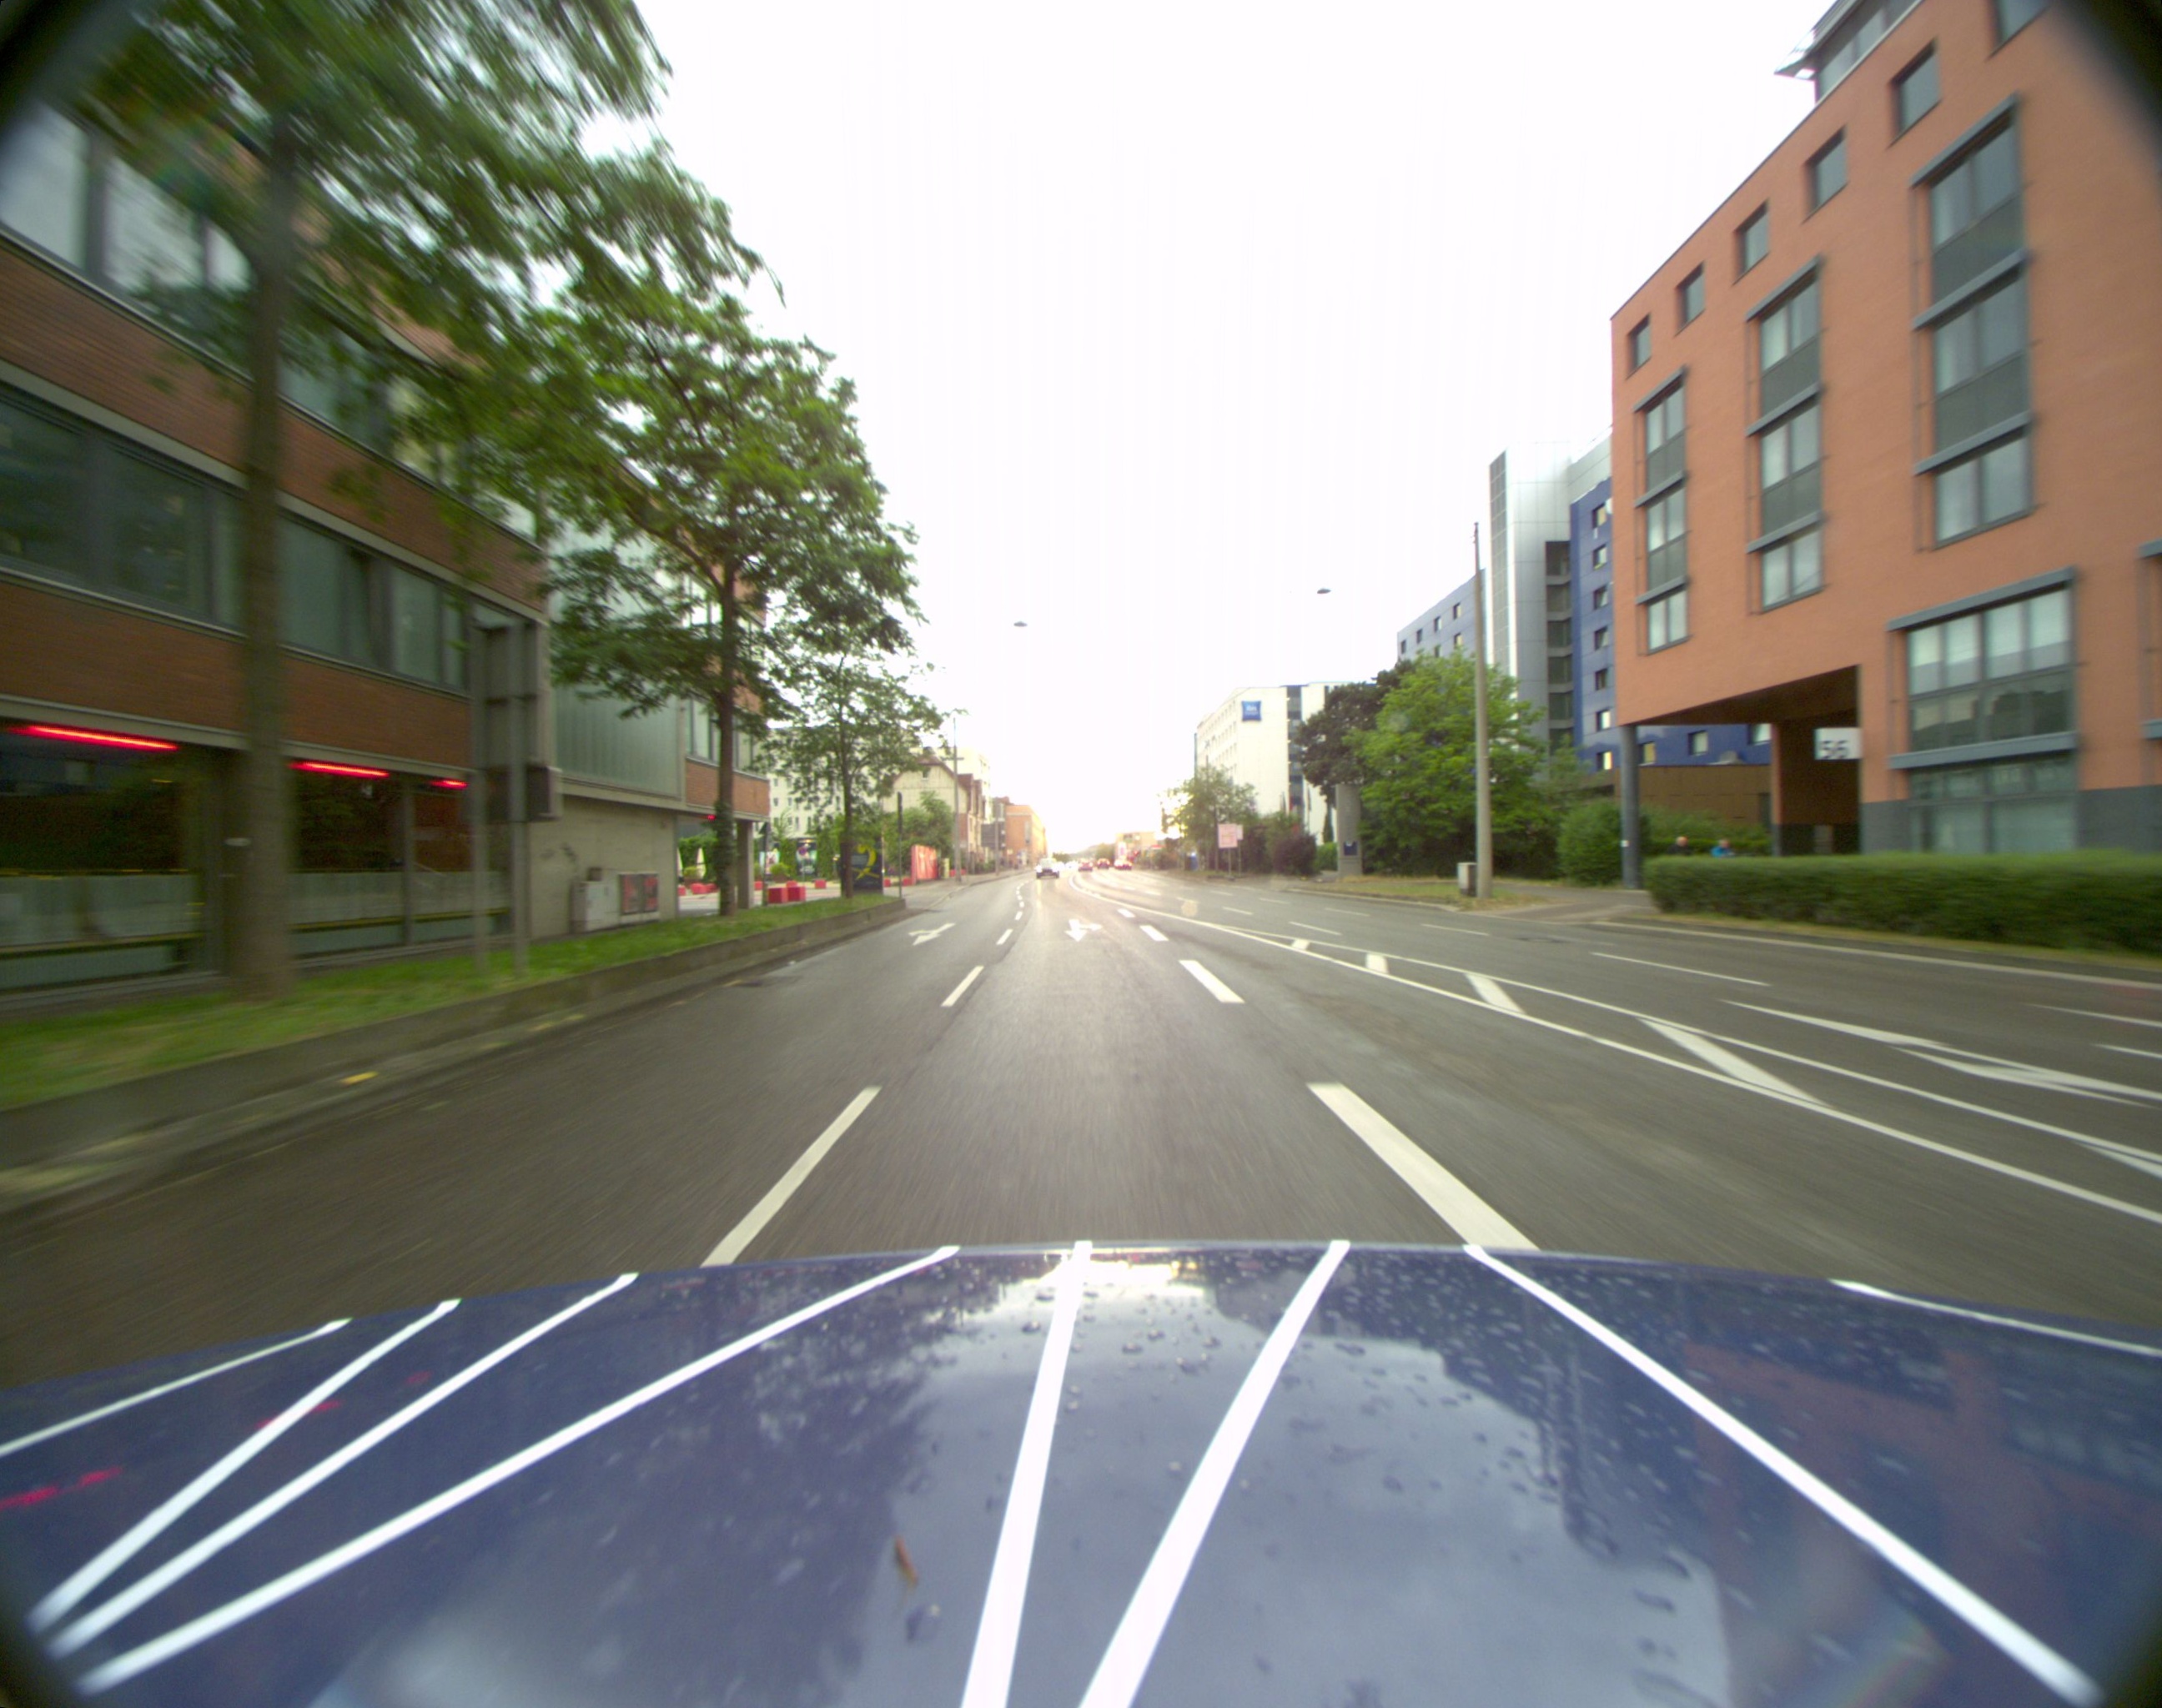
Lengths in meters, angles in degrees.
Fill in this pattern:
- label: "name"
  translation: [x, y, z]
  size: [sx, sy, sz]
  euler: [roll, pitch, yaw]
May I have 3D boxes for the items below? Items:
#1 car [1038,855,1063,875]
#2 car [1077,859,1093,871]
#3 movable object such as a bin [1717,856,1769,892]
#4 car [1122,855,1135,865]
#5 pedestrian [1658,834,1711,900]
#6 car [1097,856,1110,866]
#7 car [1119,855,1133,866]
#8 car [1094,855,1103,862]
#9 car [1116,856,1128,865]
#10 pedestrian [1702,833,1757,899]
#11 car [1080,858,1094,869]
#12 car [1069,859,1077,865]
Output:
- label: "car"
  translation: [-2.652, 0.965, 67.624]
  size: [1.999, 1.656, 5.424]
  euler: [-2, 0, 0]
- label: "car"
  translation: [0.521, 1.450, 100.792]
  size: [1.998, 1.543, 4.000]
  euler: [-1, 0, 0]
- label: "movable object such as a bin"
  translation: [23.974, 0.705, 27.551]
  size: [0.782, 1.241, 1.209]
  euler: [-1, 0, -4]
- label: "car"
  translation: [7.775, 0.961, 125.685]
  size: [1.767, 1.559, 3.999]
  euler: [1, 0, -1]
- label: "pedestrian"
  translation: [17.177, 0.367, 21.644]
  size: [0.747, 1.830, 0.885]
  euler: [-2, 0, 0]
- label: "car"
  translation: [3.727, 1.190, 127.916]
  size: [1.998, 1.543, 4.000]
  euler: [-1, 0, 0]
- label: "car"
  translation: [6.961, 1.023, 117.313]
  size: [1.767, 1.559, 3.999]
  euler: [1, 0, -2]
- label: "car"
  translation: [3.849, 1.089, 170.803]
  size: [1.998, 1.543, 4.000]
  euler: [-1, 0, 0]
- label: "car"
  translation: [7.341, 1.063, 135.845]
  size: [1.767, 1.559, 3.999]
  euler: [1, 0, -1]
- label: "pedestrian"
  translation: [18.412, 0.335, 21.588]
  size: [0.747, 1.830, 0.885]
  euler: [-2, 0, 0]
- label: "car"
  translation: [0.877, 1.359, 112.495]
  size: [1.998, 1.543, 4.000]
  euler: [-1, 0, 0]
- label: "car"
  translation: [-1.947, 1.959, 185.180]
  size: [1.799, 1.501, 4.001]
  euler: [0, -1, 0]
